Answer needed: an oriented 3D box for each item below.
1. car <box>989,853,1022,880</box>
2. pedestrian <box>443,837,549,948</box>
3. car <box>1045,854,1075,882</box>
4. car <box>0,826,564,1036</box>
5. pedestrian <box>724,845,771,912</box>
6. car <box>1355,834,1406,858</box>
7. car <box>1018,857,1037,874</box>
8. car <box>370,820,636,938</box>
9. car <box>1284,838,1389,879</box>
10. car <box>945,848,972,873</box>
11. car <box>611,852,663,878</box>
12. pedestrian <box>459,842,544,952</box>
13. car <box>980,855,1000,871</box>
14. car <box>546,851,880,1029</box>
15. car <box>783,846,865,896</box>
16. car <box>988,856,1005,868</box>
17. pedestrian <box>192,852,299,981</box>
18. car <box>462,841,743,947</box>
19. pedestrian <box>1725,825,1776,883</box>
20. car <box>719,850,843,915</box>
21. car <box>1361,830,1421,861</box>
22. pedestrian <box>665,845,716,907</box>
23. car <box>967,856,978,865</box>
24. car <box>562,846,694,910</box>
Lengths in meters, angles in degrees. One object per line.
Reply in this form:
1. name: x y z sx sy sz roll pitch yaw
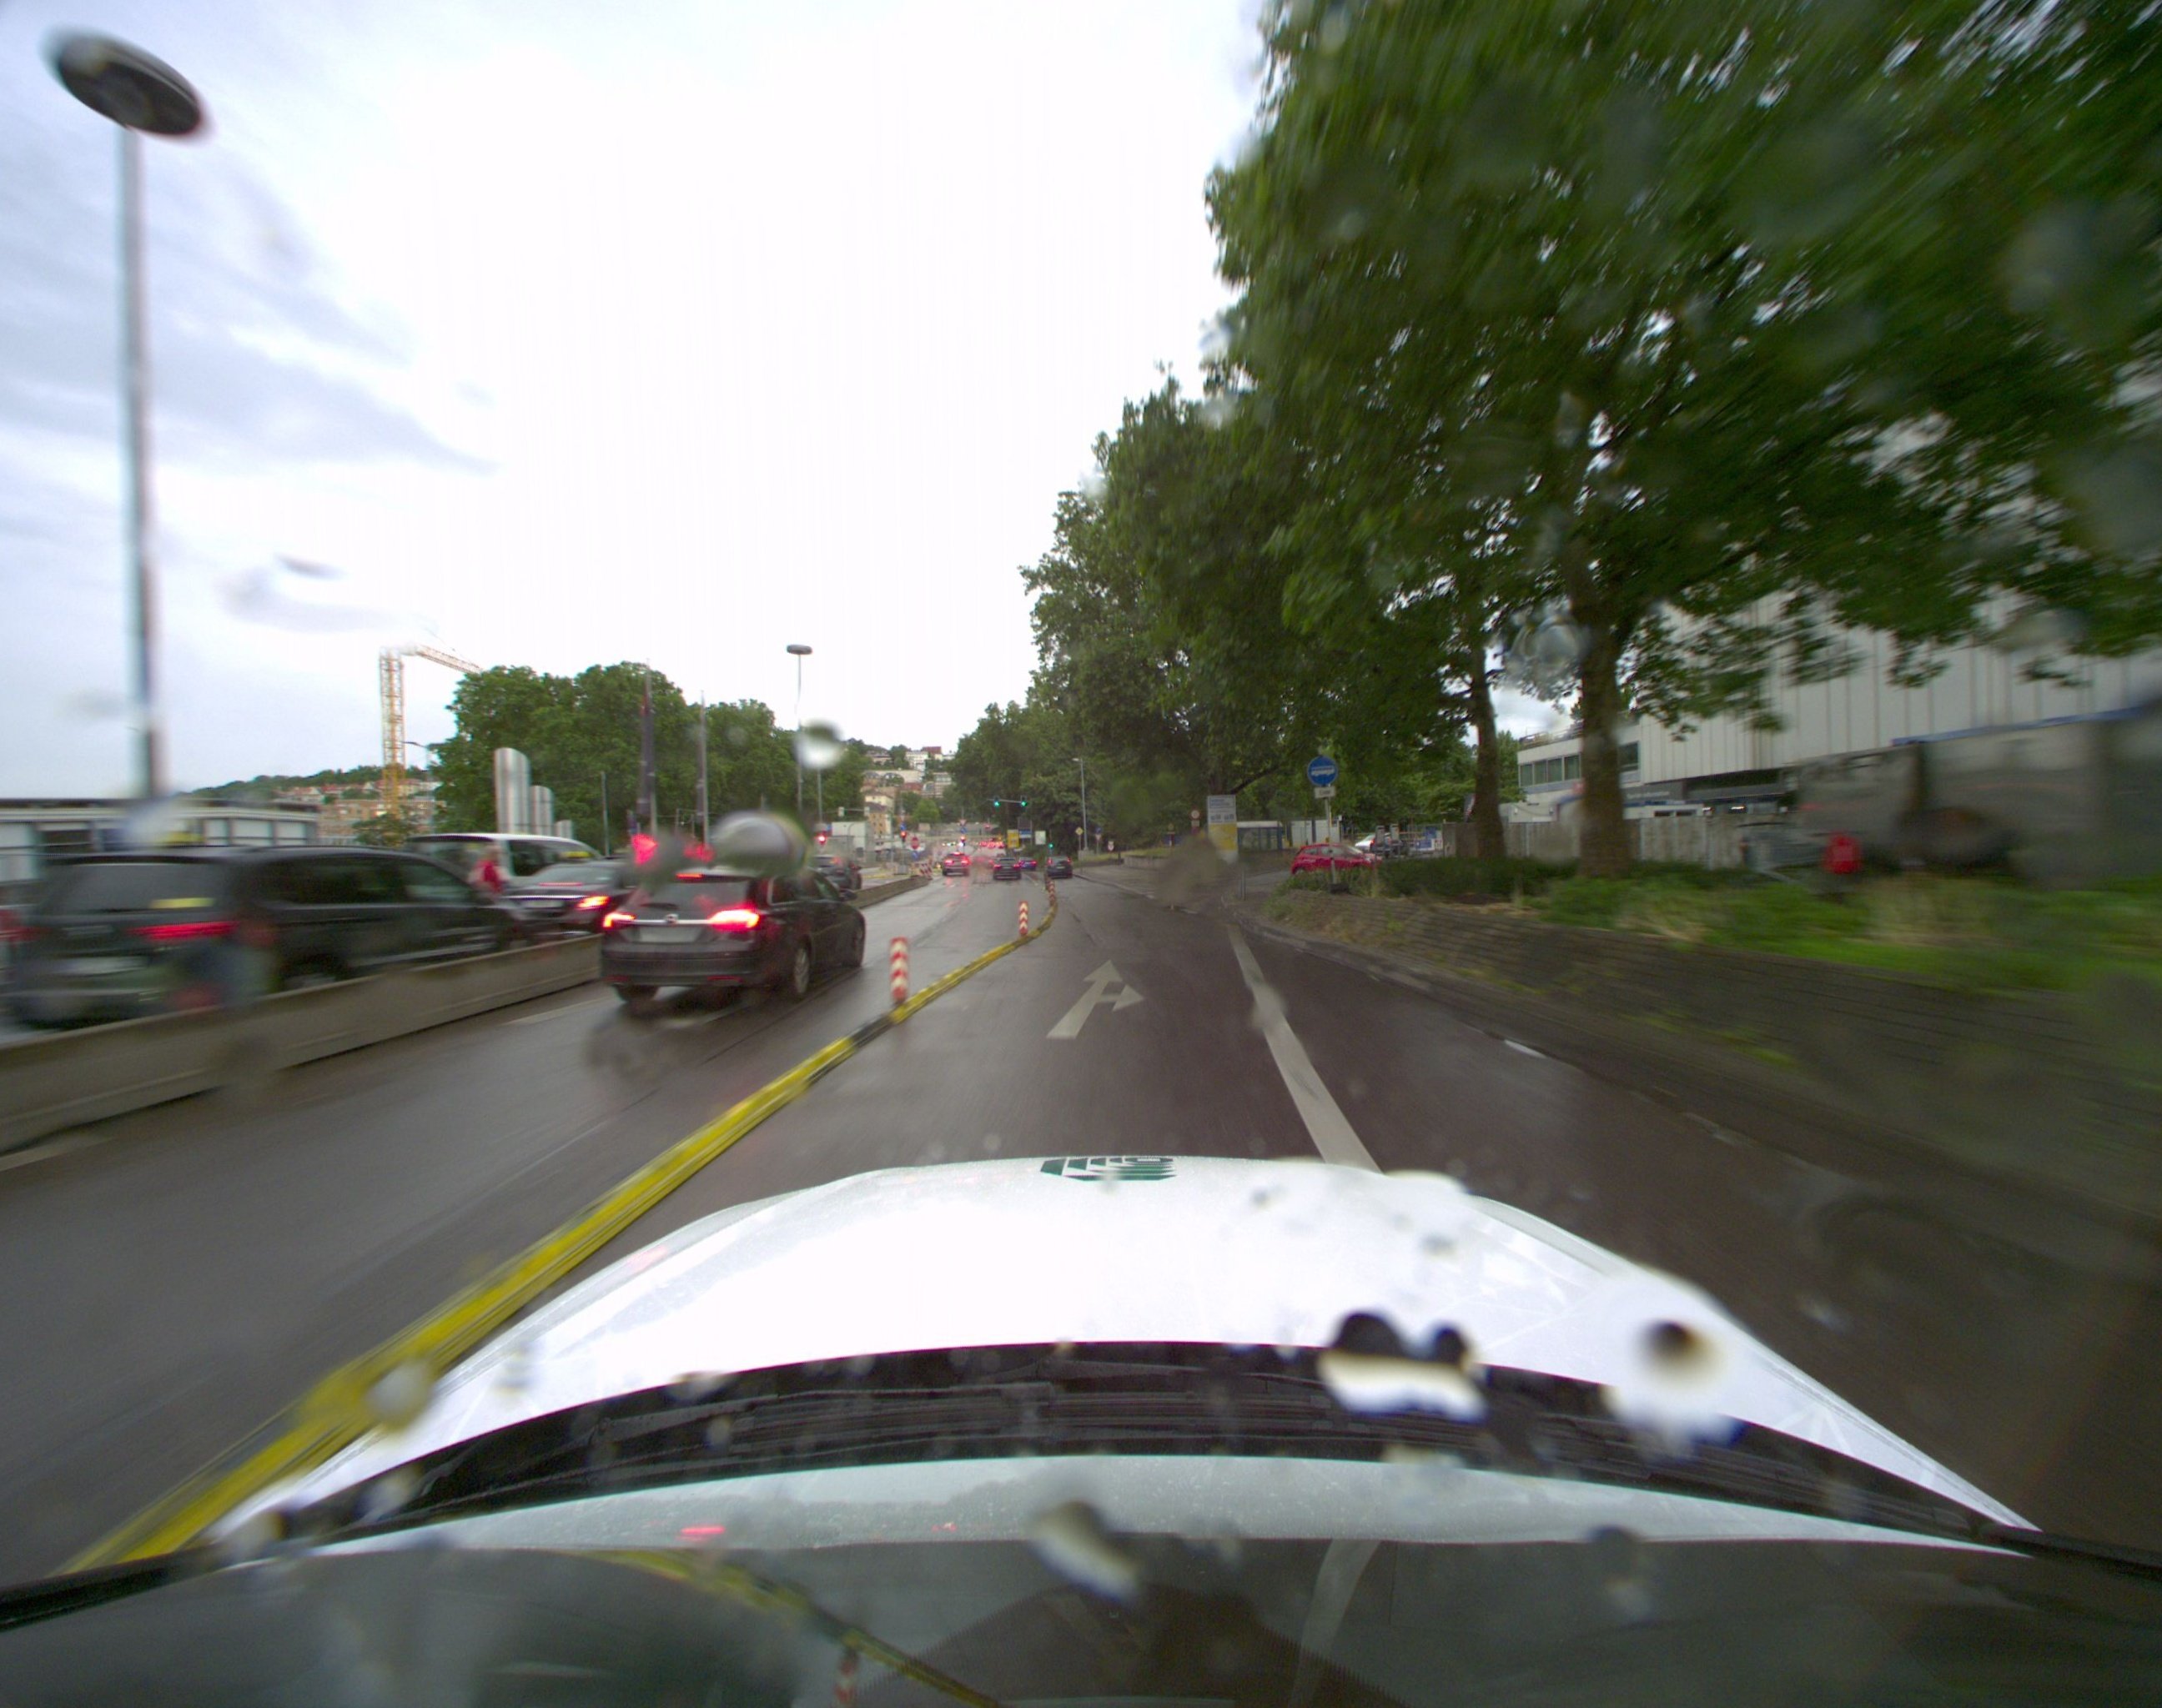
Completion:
1. car: -4.989 0.772 54.358 1.825 1.686 4.131 -1 0 -1
2. pedestrian: -9.250 0.587 12.909 1.020 1.675 0.837 -1 0 2
3. car: -1.386 0.882 53.288 1.847 1.717 3.997 0 0 -2
4. car: -7.431 0.567 8.168 1.820 1.511 4.484 0 0 -4
5. pedestrian: -10.332 0.748 25.234 1.015 2.013 0.841 -1 0 31
6. car: 23.259 -0.590 63.118 4.480 1.781 1.926 0 0 -44
7. car: -5.239 1.133 79.981 1.669 1.581 3.239 0 0 0
8. car: -11.448 0.439 16.778 1.990 2.014 5.360 0 0 -5
9. car: 10.071 0.186 32.161 3.572 1.506 1.745 -1 0 39
10. car: -9.642 0.496 63.705 1.994 1.827 3.986 0 0 -10
11. car: -49.026 1.179 90.089 2.376 2.702 5.788 -3 0 0
12. pedestrian: -9.898 0.697 13.914 1.034 1.783 0.826 -1 0 -44
13. car: -10.266 0.986 92.125 1.899 1.717 3.997 0 0 -2
14. car: -3.804 0.743 9.532 1.873 1.508 4.847 -1 0 -3
15. car: -9.000 0.563 28.892 1.992 1.530 4.141 -3 0 -8
16. car: -11.567 1.047 111.286 1.638 1.624 3.774 0 0 -16
17. pedestrian: -11.750 0.848 11.477 0.632 1.753 0.823 0 -1 3
18. car: -7.956 0.587 14.281 1.966 1.511 5.004 0 0 0
19. pedestrian: 17.462 0.003 21.256 0.546 1.469 0.926 -2 0 5
20. car: -8.479 0.743 23.555 1.990 1.567 4.869 -3 0 -4
21. car: 20.847 -0.555 54.641 2.107 2.014 4.676 -1 0 43
22. pedestrian: -10.992 0.613 22.928 0.826 1.682 1.034 -1 0 44
23. car: -18.500 1.083 138.773 1.814 1.574 3.986 0 0 -10
24. car: -12.573 0.603 22.897 1.711 1.629 4.049 0 0 -5
